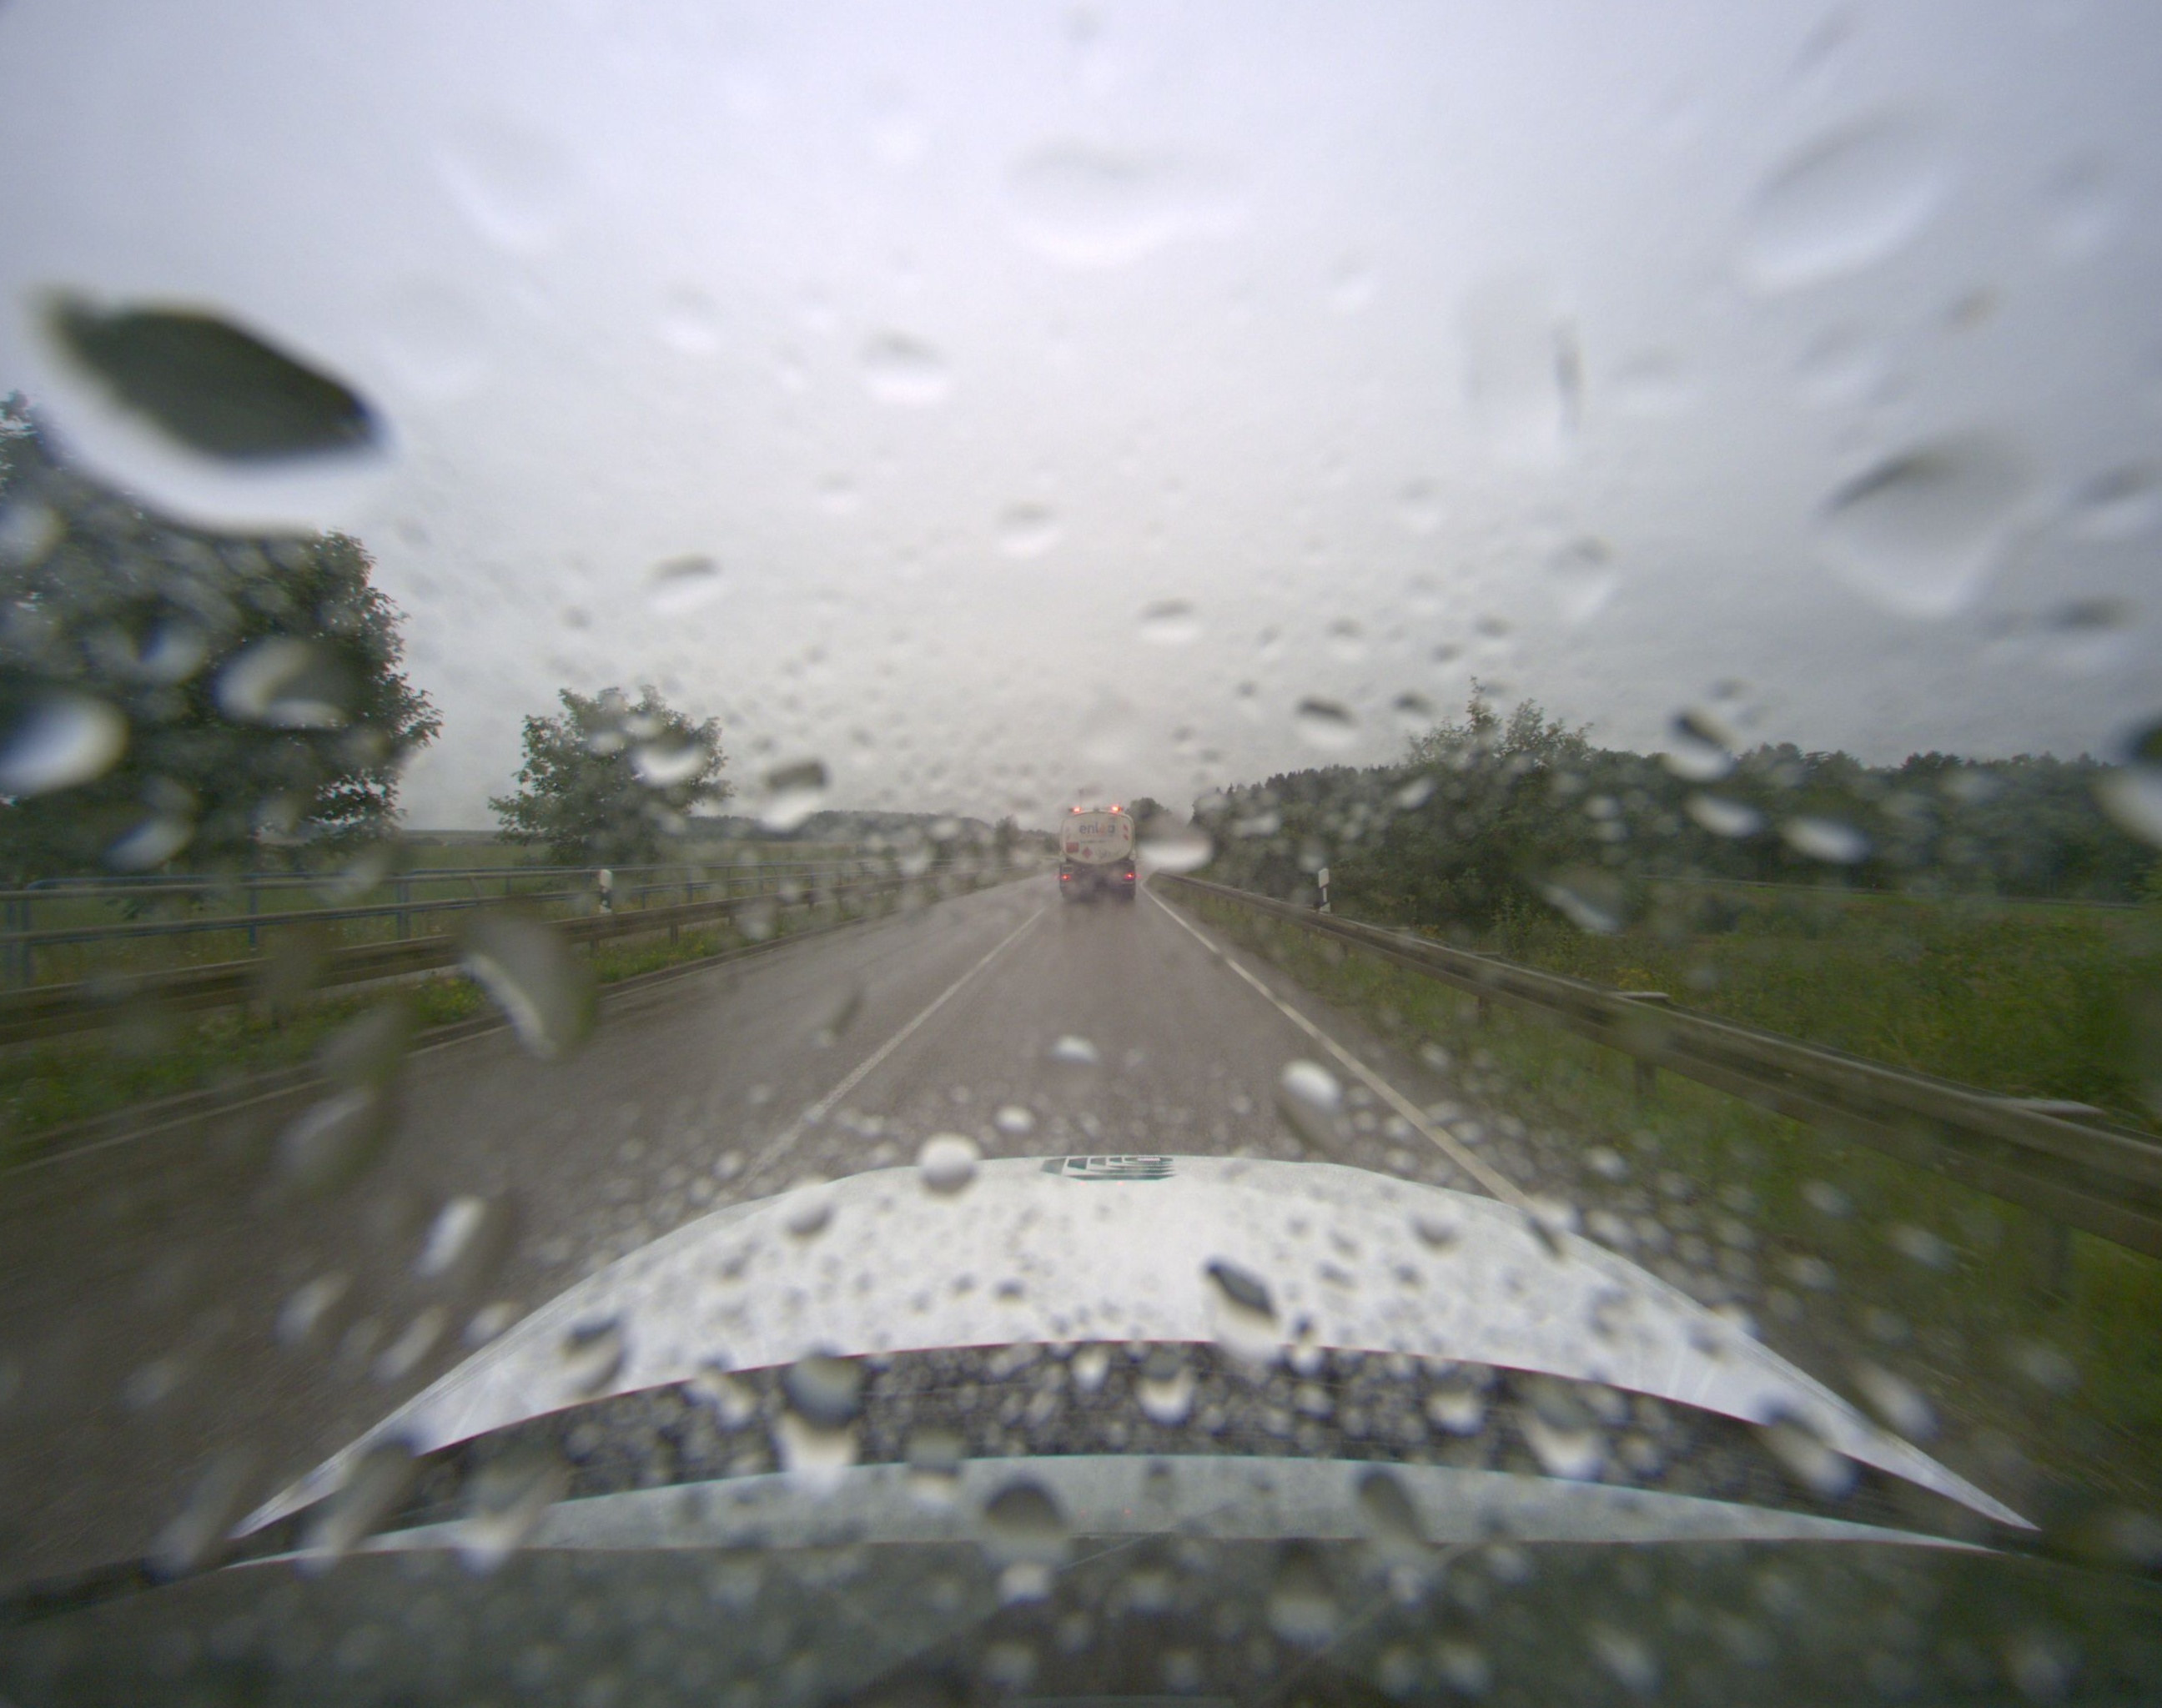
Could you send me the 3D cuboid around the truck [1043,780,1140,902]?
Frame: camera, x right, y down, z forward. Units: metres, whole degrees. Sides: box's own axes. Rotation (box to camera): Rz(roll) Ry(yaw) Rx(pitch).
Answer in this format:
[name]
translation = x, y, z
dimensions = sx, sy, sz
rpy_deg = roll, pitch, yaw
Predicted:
[truck]
translation = 0.552, -0.433, 30.322
dimensions = 3.027, 3.851, 8.829
rpy_deg = -1, 0, 3
